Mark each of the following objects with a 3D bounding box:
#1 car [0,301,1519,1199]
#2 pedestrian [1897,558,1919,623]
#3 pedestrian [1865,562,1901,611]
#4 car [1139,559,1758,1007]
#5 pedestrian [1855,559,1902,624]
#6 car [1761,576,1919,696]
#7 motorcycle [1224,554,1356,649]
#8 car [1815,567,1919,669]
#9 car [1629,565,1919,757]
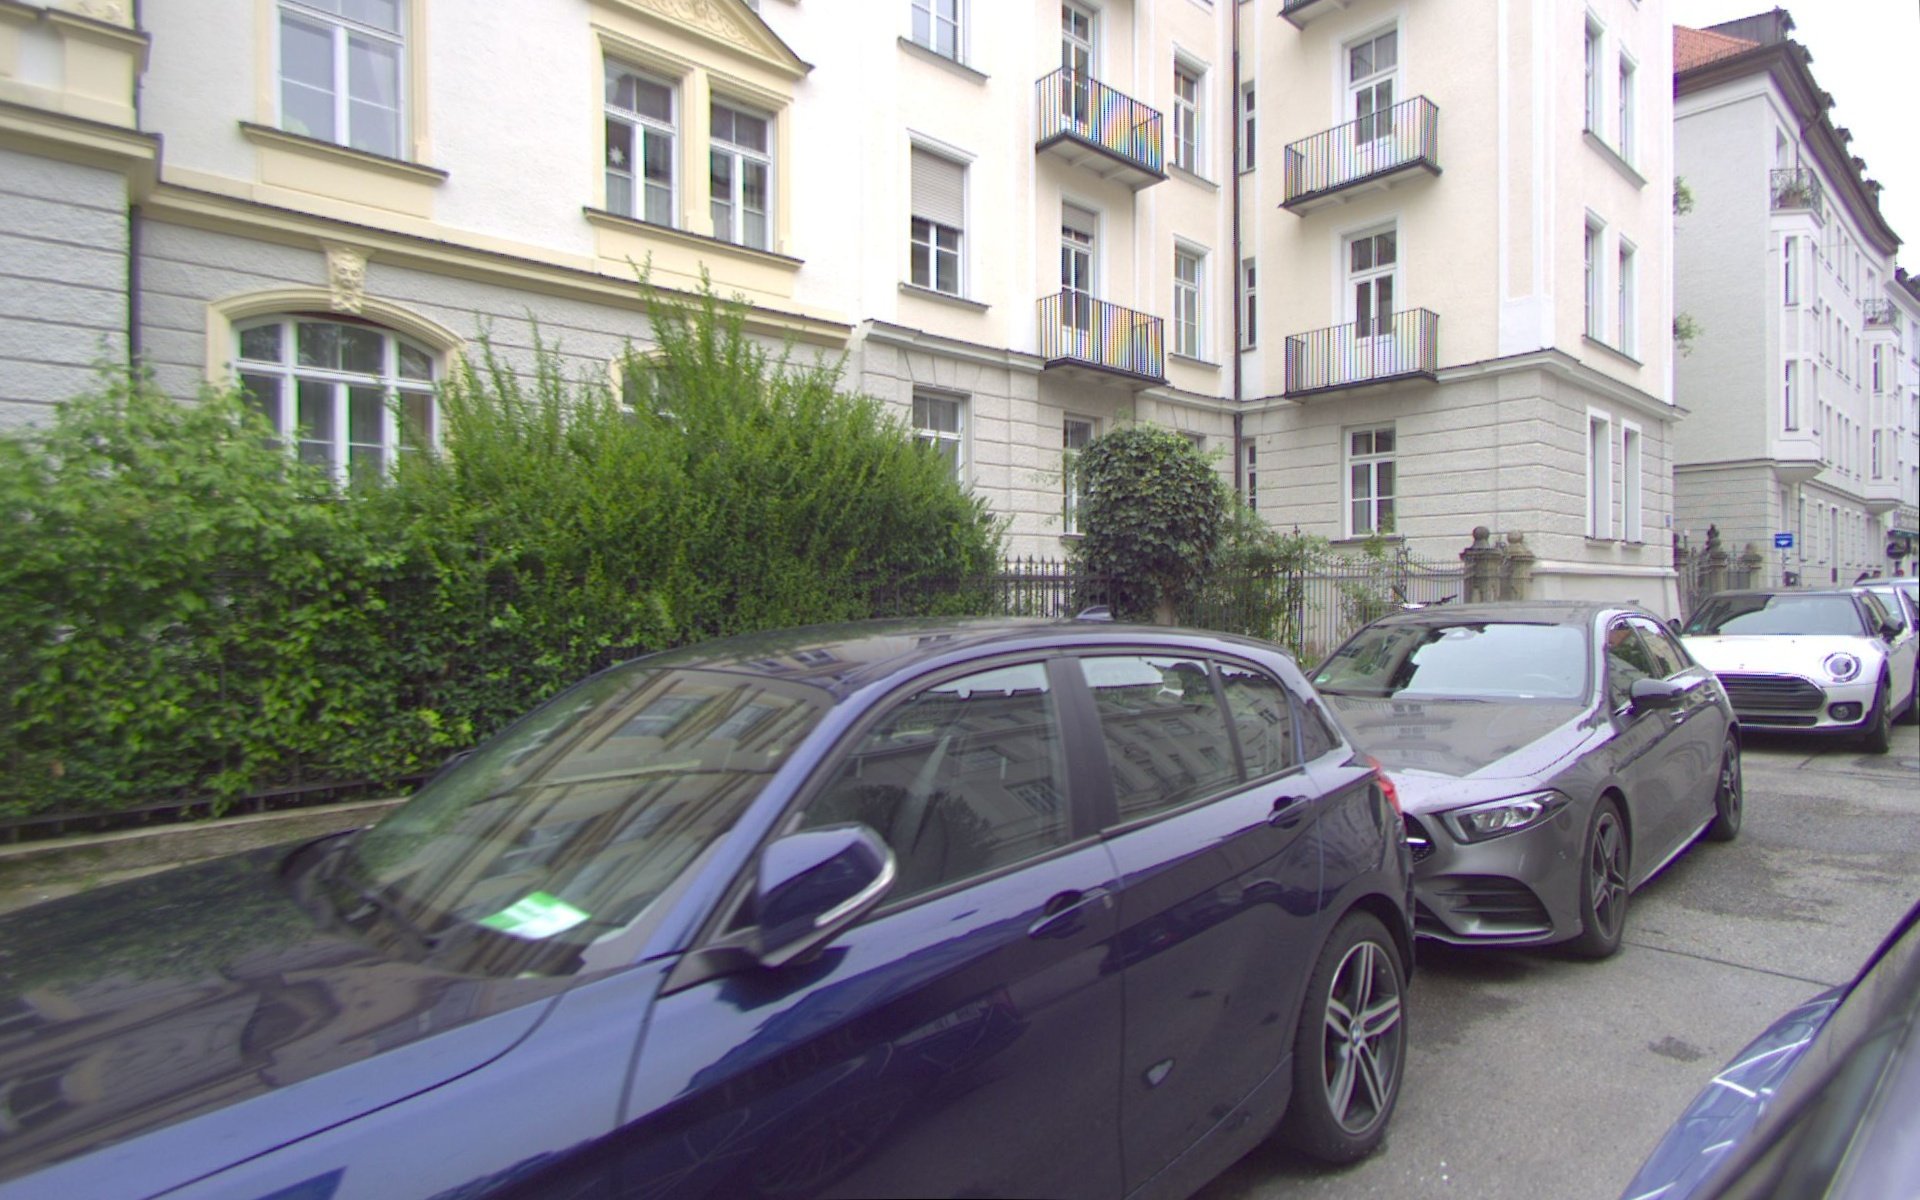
[{"bbox_3d":[-0.306,0.572,2.497,4.351,1.631,1.751,-1,-1,-44],"label":"car"},{"bbox_3d":[27.687,-0.277,29.117,1.090,1.834,0.886,-1,1,-36],"label":"pedestrian"},{"bbox_3d":[34.728,-0.517,38.077,1.091,1.836,0.885,-1,1,-40],"label":"pedestrian"},{"bbox_3d":[2.844,0.581,5.422,3.951,1.523,1.685,-2,0,-44],"label":"car"},{"bbox_3d":[26.326,-0.252,29.014,1.092,1.809,0.885,-1,1,-41],"label":"pedestrian"},{"bbox_3d":[12.419,0.408,13.782,3.392,1.424,1.757,-2,0,-41],"label":"car"},{"bbox_3d":[4.223,0.000,12.879,1.928,1.126,0.609,0,2,-38],"label":"motorcycle"},{"bbox_3d":[16.451,0.251,17.414,4.321,1.589,1.825,-1,-2,-39],"label":"car"},{"bbox_3d":[8.313,0.445,10.029,3.995,1.523,1.787,-2,0,-41],"label":"car"}]
